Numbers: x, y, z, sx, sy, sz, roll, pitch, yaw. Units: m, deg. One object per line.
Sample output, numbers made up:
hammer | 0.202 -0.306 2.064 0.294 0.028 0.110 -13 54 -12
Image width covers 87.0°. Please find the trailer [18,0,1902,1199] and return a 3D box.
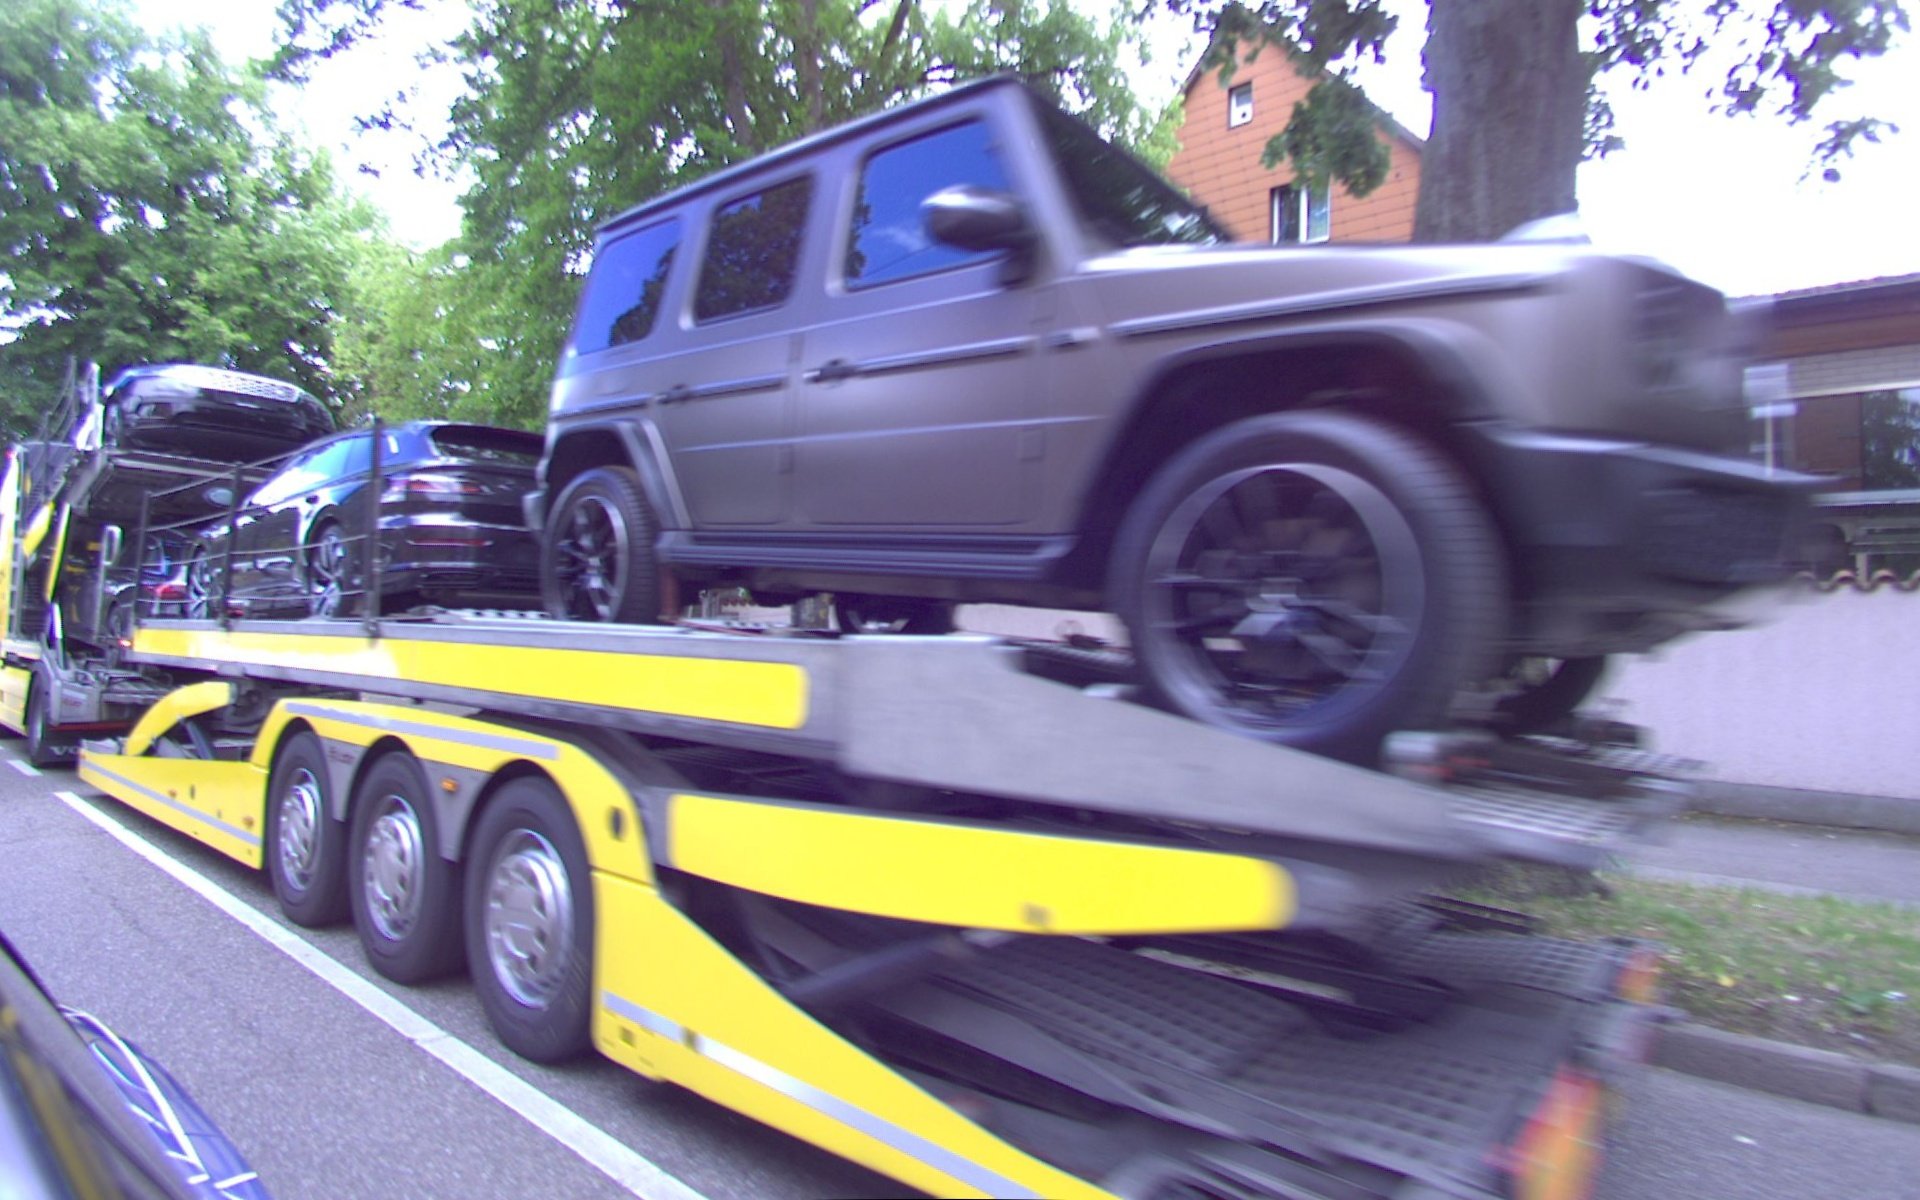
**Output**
trailer | -3.490 -0.427 6.910 14.383 3.837 2.828 0 0 41

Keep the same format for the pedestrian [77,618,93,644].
pedestrian | -52.399 1.849 60.618 0.662 1.570 0.521 0 0 -32

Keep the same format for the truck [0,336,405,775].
truck | -9.771 -0.383 12.389 7.666 3.811 2.814 0 0 41

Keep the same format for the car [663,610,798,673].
car | -5.957 1.008 26.061 3.616 1.497 1.604 0 0 42
